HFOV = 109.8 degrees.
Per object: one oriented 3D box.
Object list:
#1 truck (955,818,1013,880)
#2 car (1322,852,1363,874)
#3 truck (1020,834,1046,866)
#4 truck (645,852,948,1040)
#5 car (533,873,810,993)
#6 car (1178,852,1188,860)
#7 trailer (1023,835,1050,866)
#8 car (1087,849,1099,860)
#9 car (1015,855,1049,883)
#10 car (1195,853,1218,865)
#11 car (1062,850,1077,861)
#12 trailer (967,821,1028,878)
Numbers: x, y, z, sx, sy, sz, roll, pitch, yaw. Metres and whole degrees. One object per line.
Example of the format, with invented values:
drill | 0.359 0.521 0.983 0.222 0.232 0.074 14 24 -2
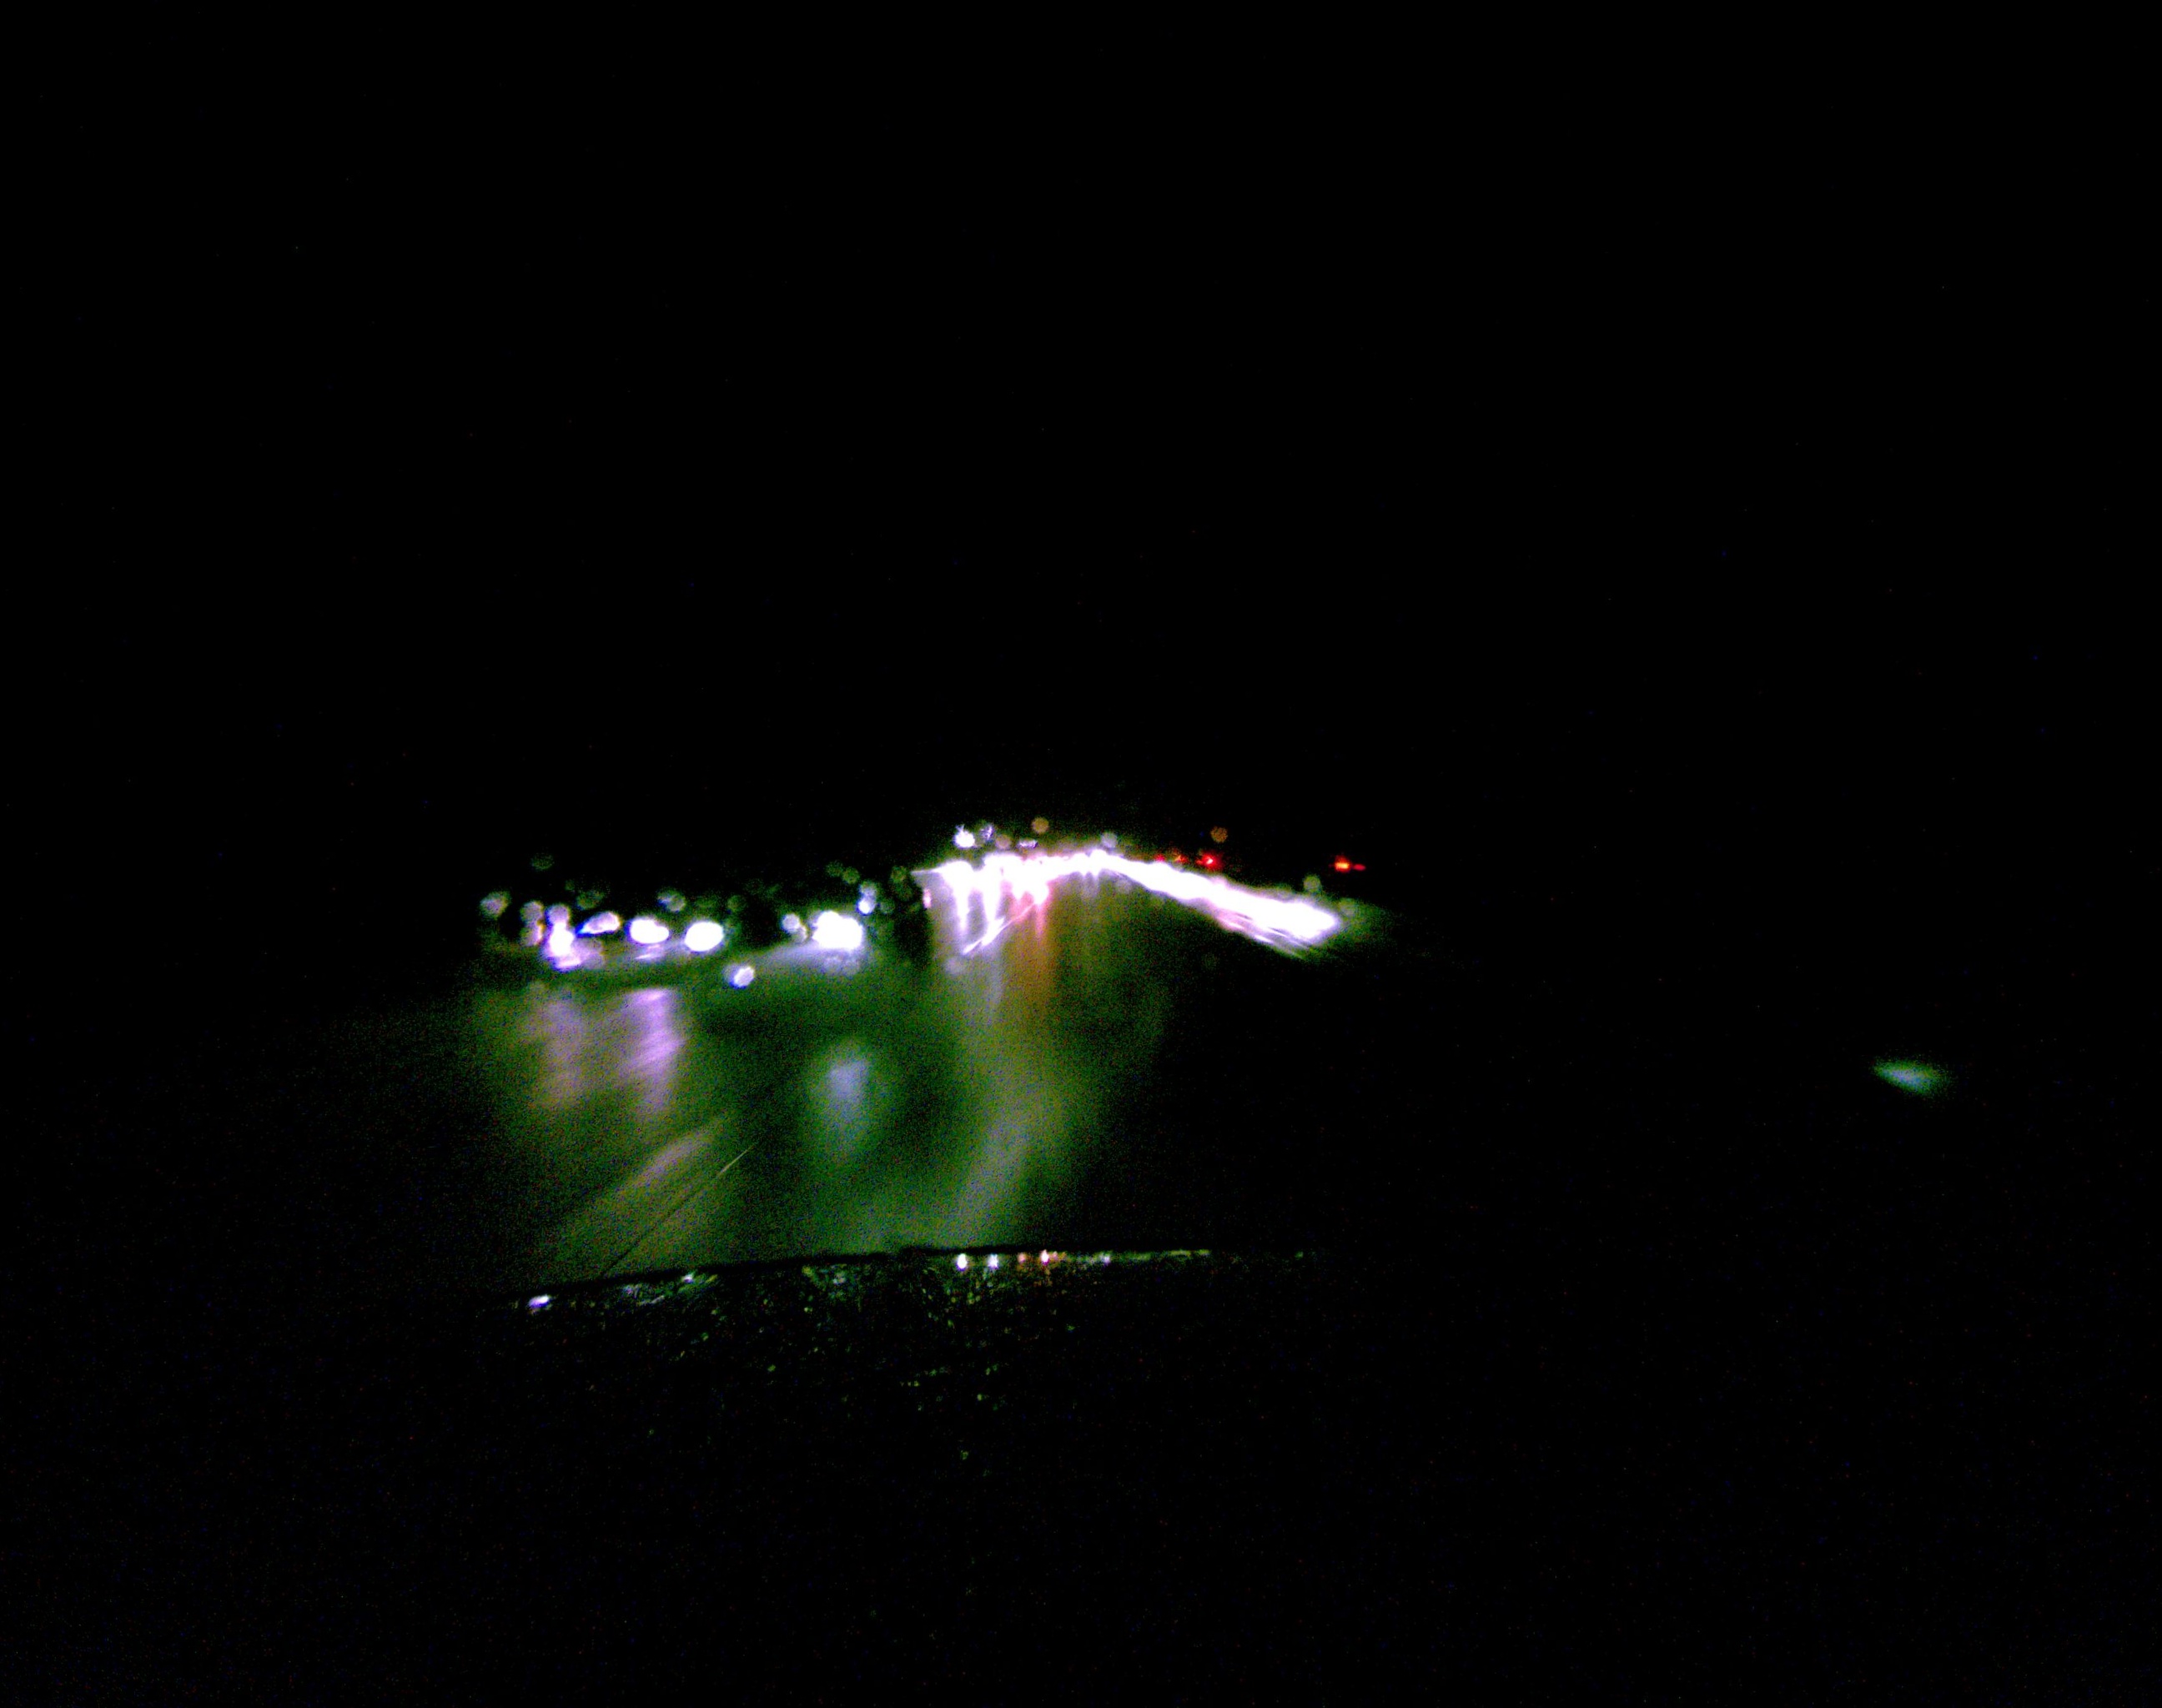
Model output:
truck | -6.919 -0.347 55.437 2.866 4.079 7.014 -3 0 2
car | 24.478 0.813 71.385 1.998 1.936 5.386 0 0 1
truck | -6.611 -0.510 105.739 2.777 4.168 6.017 -3 0 2
truck | -3.130 0.873 9.651 1.848 1.686 4.854 -2 0 1
car | -6.575 1.146 13.107 1.747 1.470 5.366 -2 0 1
car | 23.583 0.416 175.977 1.897 1.574 5.371 -2 1 2
trailer | -6.397 -0.553 111.092 2.753 4.168 11.180 -3 0 2
car | 1.714 0.027 106.629 1.619 1.452 3.768 -2 1 2
car | -2.922 0.868 46.080 1.619 1.494 3.768 -2 1 2
car | 14.283 0.554 86.652 1.998 1.407 4.589 0 0 1
car | -1.758 0.178 114.093 1.944 1.521 4.000 -2 1 2
trailer | -6.649 -0.407 63.156 2.871 4.074 13.642 -2 1 2
